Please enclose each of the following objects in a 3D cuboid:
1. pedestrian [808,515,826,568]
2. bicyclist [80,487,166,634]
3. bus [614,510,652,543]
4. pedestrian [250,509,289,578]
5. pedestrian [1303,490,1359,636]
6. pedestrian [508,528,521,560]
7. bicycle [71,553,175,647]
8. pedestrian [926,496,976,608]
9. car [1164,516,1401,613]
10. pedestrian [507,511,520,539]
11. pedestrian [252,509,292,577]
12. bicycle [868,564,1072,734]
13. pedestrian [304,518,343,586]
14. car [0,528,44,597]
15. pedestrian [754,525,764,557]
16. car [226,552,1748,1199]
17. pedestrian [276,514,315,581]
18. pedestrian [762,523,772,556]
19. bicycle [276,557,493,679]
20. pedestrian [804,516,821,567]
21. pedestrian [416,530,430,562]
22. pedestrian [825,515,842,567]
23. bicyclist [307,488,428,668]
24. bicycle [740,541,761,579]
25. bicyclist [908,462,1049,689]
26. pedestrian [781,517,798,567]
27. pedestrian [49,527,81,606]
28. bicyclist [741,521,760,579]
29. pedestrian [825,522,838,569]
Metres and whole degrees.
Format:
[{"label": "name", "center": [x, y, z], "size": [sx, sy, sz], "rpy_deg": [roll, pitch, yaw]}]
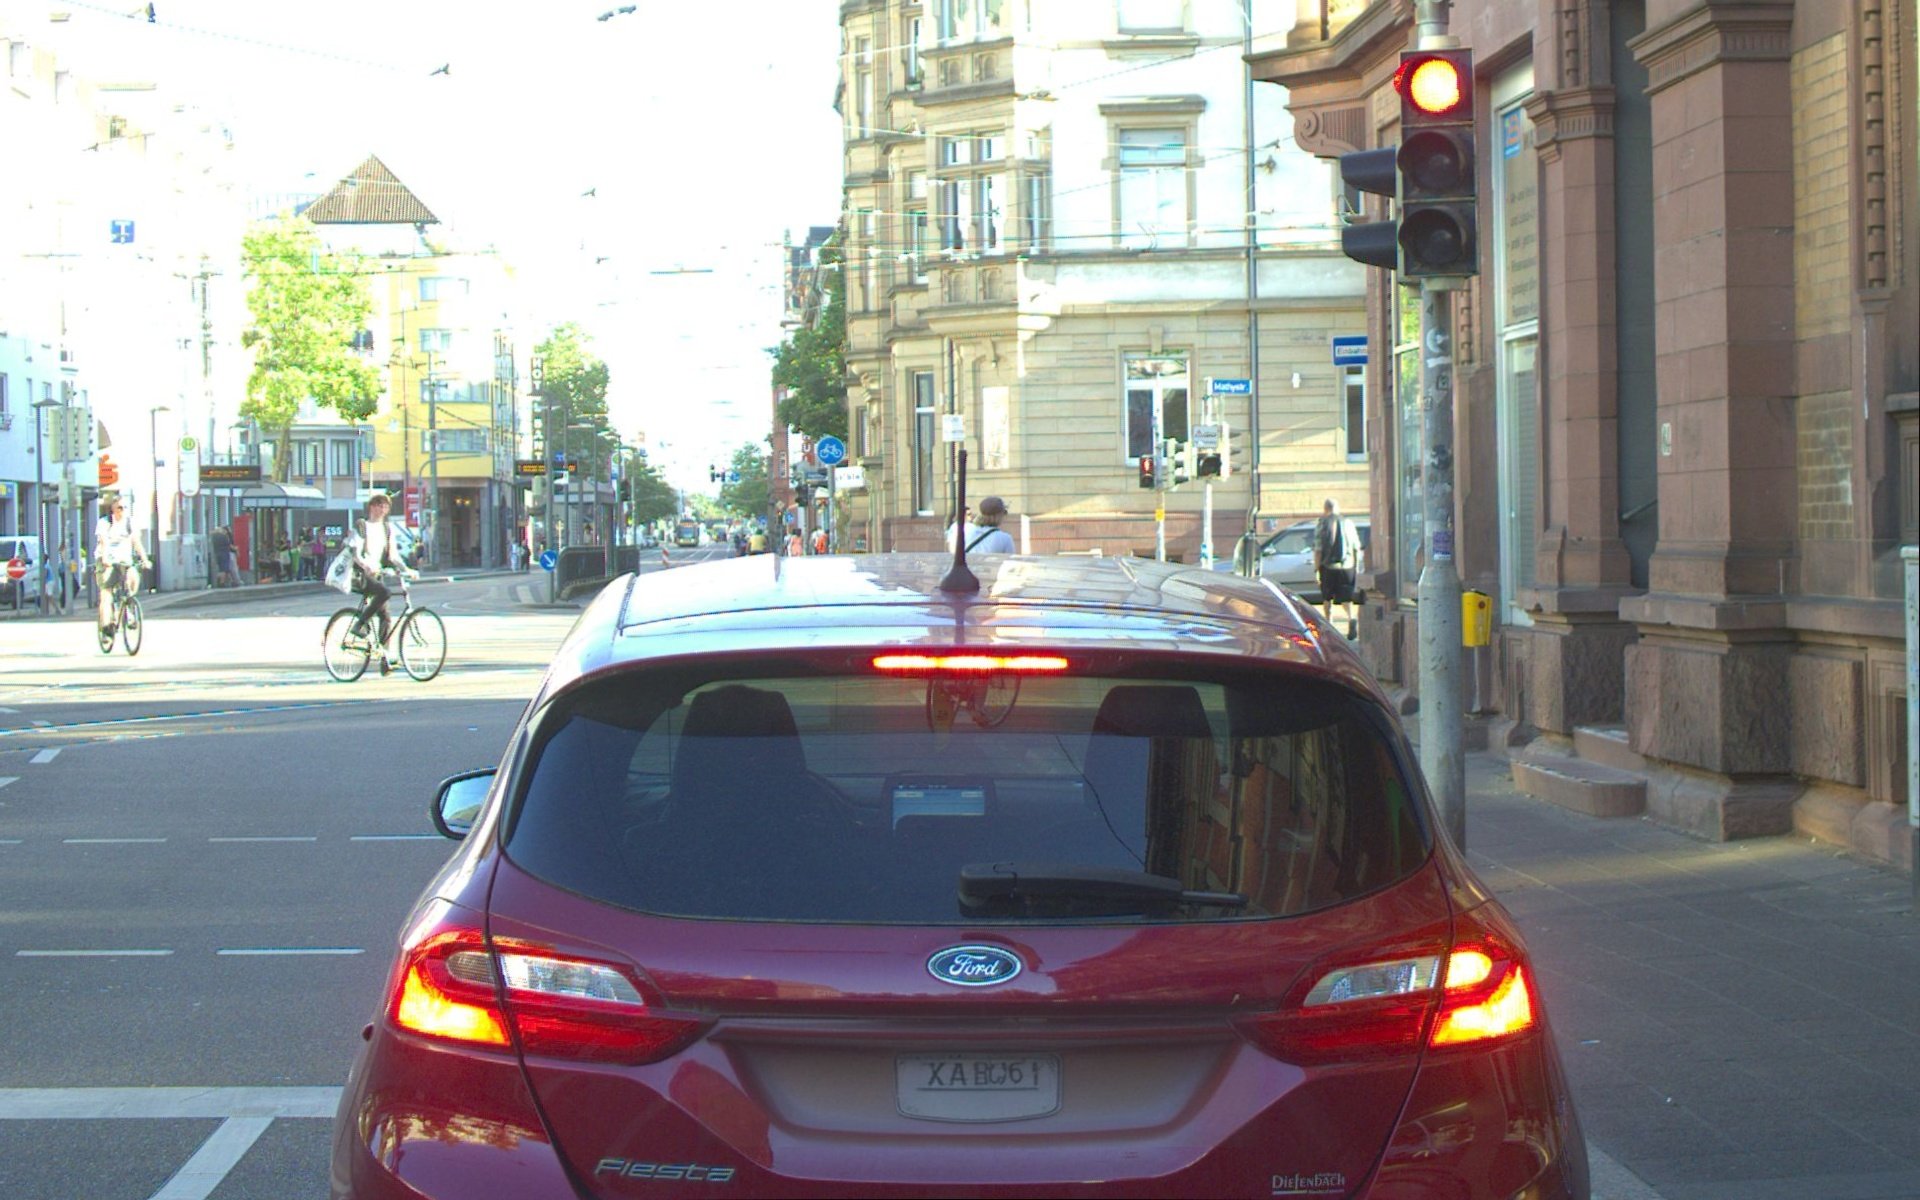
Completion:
[{"label": "pedestrian", "center": [-5.488, -2.236, 131.908], "size": [0.577, 2.007, 0.631], "rpy_deg": [-1, 1, 3]}, {"label": "bicyclist", "center": [-10.565, -0.501, 43.378], "size": [0.807, 1.815, 0.993], "rpy_deg": [-2, 1, -27]}, {"label": "bus", "center": [-20.598, -4.620, 216.834], "size": [1.925, 2.007, 7.138], "rpy_deg": [-1, 1, -2]}, {"label": "pedestrian", "center": [-20.199, -1.652, 100.570], "size": [0.956, 2.007, 1.049], "rpy_deg": [-1, 1, -3]}, {"label": "pedestrian", "center": [4.490, -0.453, 41.655], "size": [0.560, 1.749, 0.650], "rpy_deg": [-2, 1, -1]}, {"label": "pedestrian", "center": [-20.868, -2.620, 161.129], "size": [0.524, 1.483, 0.583], "rpy_deg": [-1, 1, -1]}, {"label": "bicycle", "center": [-10.595, -0.011, 43.464], "size": [0.807, 1.143, 2.010], "rpy_deg": [-2, 1, -27]}, {"label": "pedestrian", "center": [-0.165, -0.878, 62.677], "size": [0.651, 2.007, 0.760], "rpy_deg": [-1, 1, -22]}, {"label": "car", "center": [5.416, -0.603, 58.009], "size": [3.896, 1.543, 1.454], "rpy_deg": [-1, 1, 3]}, {"label": "pedestrian", "center": [-25.559, -4.295, 196.747], "size": [0.628, 1.599, 0.579], "rpy_deg": [-1, 1, -20]}, {"label": "pedestrian", "center": [-20.593, -1.702, 102.922], "size": [1.045, 2.007, 0.959], "rpy_deg": [-1, 1, -5]}, {"label": "bicycle", "center": [0.093, 0.333, 24.907], "size": [0.627, 1.173, 2.022], "rpy_deg": [1, 1, 27]}, {"label": "pedestrian", "center": [-19.072, -1.450, 102.986], "size": [1.045, 2.007, 0.959], "rpy_deg": [-1, 1, -5]}, {"label": "car", "center": [-24.488, -0.964, 87.284], "size": [1.701, 1.712, 3.565], "rpy_deg": [-1, 1, -4]}, {"label": "pedestrian", "center": [-11.927, -3.515, 203.702], "size": [0.577, 1.880, 0.669], "rpy_deg": [-1, 1, -3]}, {"label": "car", "center": [-0.131, 0.667, 5.931], "size": [1.754, 1.461, 3.946], "rpy_deg": [1, 1, -5]}, {"label": "pedestrian", "center": [-20.277, -1.600, 104.845], "size": [1.045, 2.007, 0.959], "rpy_deg": [-1, 1, -5]}, {"label": "pedestrian", "center": [-11.254, -3.521, 200.525], "size": [0.577, 1.880, 0.631], "rpy_deg": [-1, 1, -3]}, {"label": "bicycle", "center": [-5.600, 0.168, 33.436], "size": [2.046, 1.143, 0.809], "rpy_deg": [0, 1, 32]}, {"label": "pedestrian", "center": [-5.869, -2.333, 136.794], "size": [0.577, 2.007, 0.631], "rpy_deg": [-1, 1, 3]}, {"label": "pedestrian", "center": [-25.521, -2.565, 163.466], "size": [0.580, 1.483, 0.526], "rpy_deg": [-1, 1, -5]}, {"label": "pedestrian", "center": [-4.944, -2.297, 134.478], "size": [0.577, 2.007, 0.631], "rpy_deg": [-1, 1, 3]}, {"label": "bicyclist", "center": [-5.782, -0.220, 33.543], "size": [0.793, 1.720, 0.809], "rpy_deg": [0, 1, 32]}, {"label": "bicycle", "center": [-6.070, -1.162, 99.770], "size": [0.526, 1.085, 1.486], "rpy_deg": [-1, 1, -1]}, {"label": "bicyclist", "center": [0.140, -0.181, 25.061], "size": [0.764, 1.621, 0.731], "rpy_deg": [1, 1, 27]}, {"label": "pedestrian", "center": [-6.783, -2.306, 136.705], "size": [0.577, 2.007, 0.631], "rpy_deg": [-1, 1, 3]}, {"label": "pedestrian", "center": [-19.085, -0.718, 73.331], "size": [0.524, 1.676, 0.486], "rpy_deg": [-1, 1, -1]}, {"label": "bicyclist", "center": [-6.074, -1.450, 99.680], "size": [0.499, 1.670, 0.545], "rpy_deg": [-1, 1, -2]}, {"label": "pedestrian", "center": [-4.569, -1.930, 122.486], "size": [0.413, 1.674, 0.485], "rpy_deg": [-1, 1, -1]}]
